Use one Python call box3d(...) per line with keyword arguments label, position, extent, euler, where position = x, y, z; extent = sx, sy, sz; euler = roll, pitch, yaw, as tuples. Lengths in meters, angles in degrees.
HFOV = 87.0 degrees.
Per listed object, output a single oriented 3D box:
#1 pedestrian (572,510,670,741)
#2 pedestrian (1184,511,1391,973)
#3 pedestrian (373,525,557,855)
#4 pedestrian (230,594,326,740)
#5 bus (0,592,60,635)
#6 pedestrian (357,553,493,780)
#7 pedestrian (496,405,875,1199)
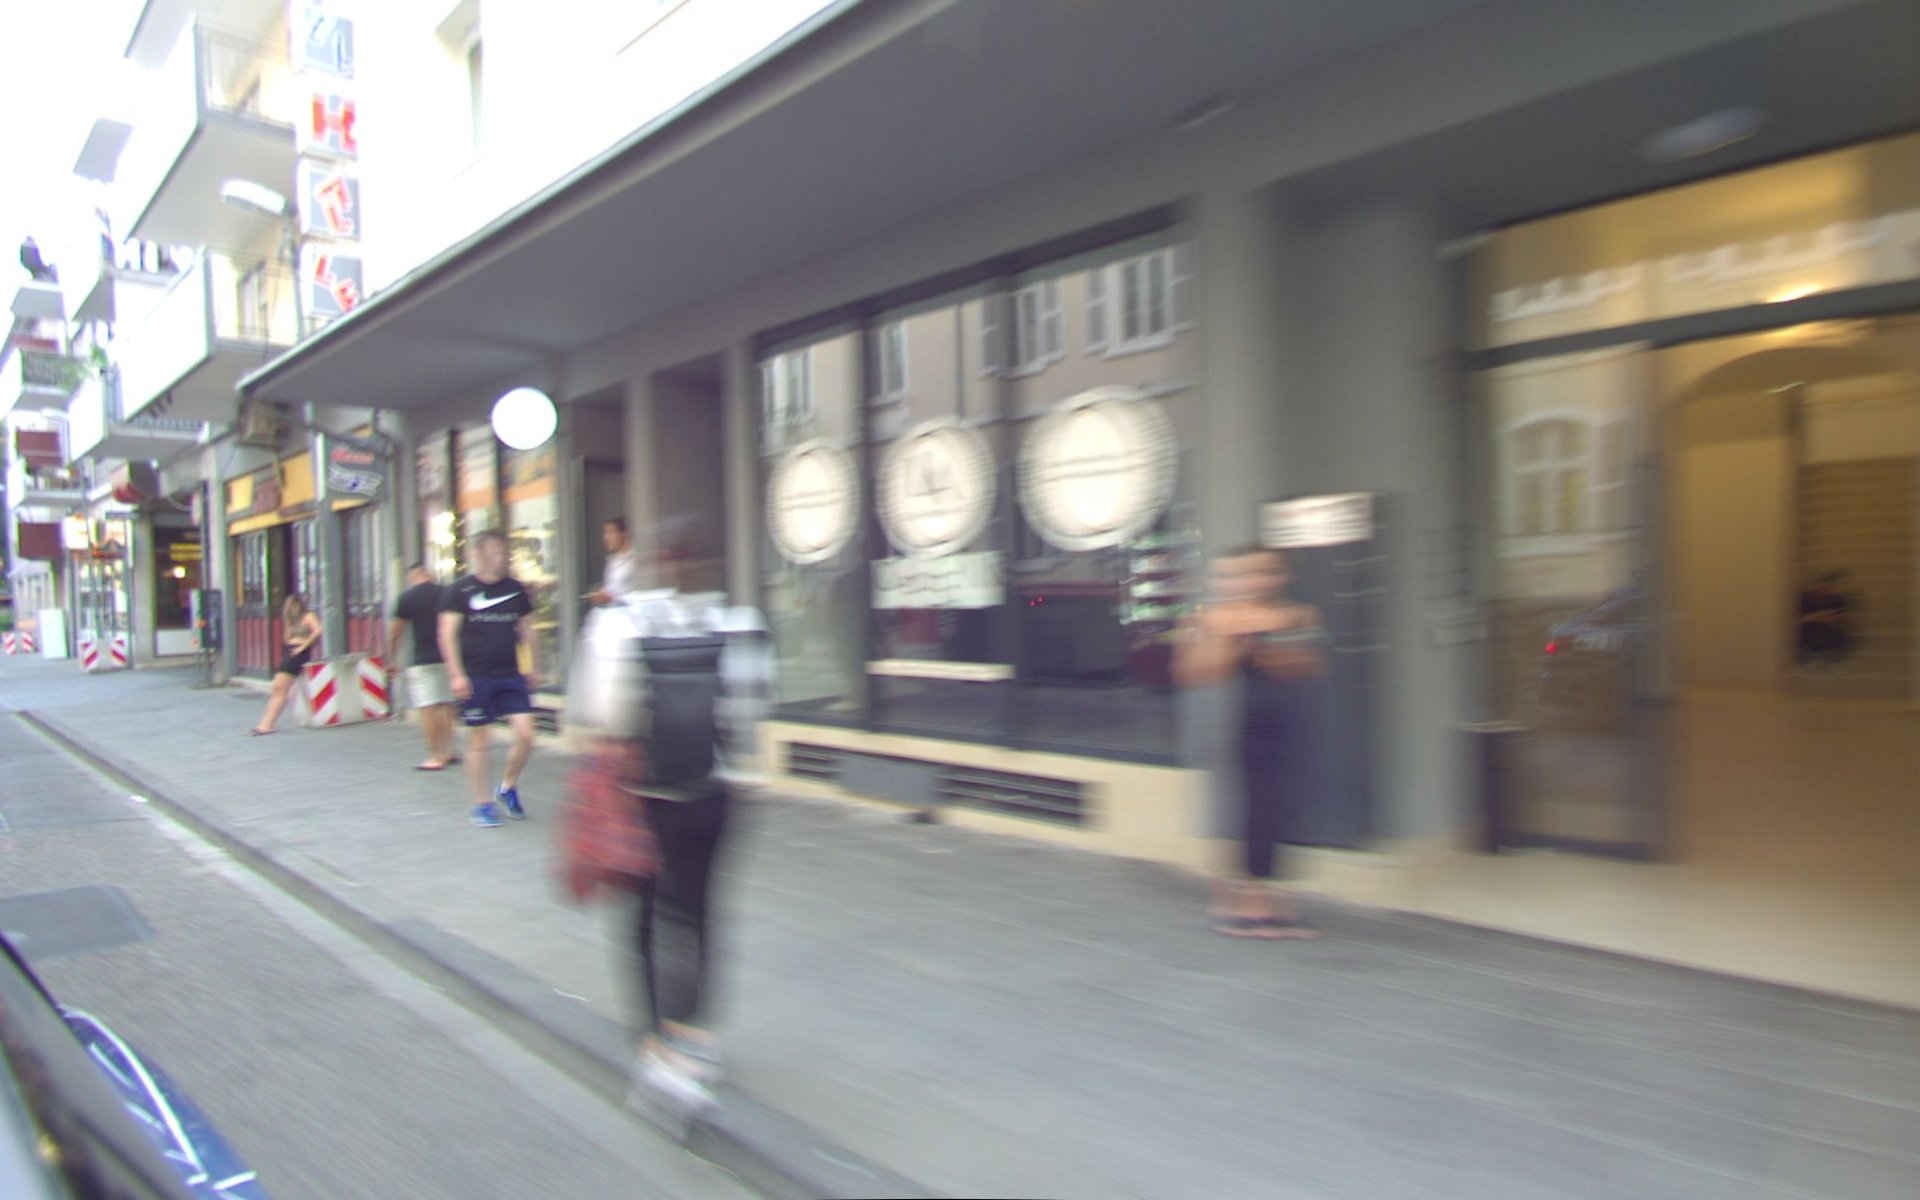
box3d(label="pedestrian", position=(-2.809, 0.206, 8.388), extent=(0.613, 1.824, 0.538), euler=(-1, -1, 42))
box3d(label="pedestrian", position=(1.229, 0.489, 3.861), extent=(0.633, 1.581, 0.655), euler=(-2, 1, 17))
box3d(label="pedestrian", position=(-3.031, 0.500, 6.181), extent=(0.933, 1.824, 0.706), euler=(-1, -1, 43))
box3d(label="pedestrian", position=(-7.819, 0.742, 11.610), extent=(0.612, 1.590, 0.702), euler=(-1, 2, 39))
box3d(label="bus", position=(-76.707, 1.044, 76.687), extent=(3.895, 3.350, 12.454), euler=(0, 0, 19))
box3d(label="pedestrian", position=(-4.525, 0.521, 8.547), extent=(0.932, 1.795, 0.696), euler=(-1, 1, 42))
box3d(label="pedestrian", position=(-0.765, 0.453, 2.780), extent=(0.747, 1.753, 0.786), euler=(1, -2, -38))
